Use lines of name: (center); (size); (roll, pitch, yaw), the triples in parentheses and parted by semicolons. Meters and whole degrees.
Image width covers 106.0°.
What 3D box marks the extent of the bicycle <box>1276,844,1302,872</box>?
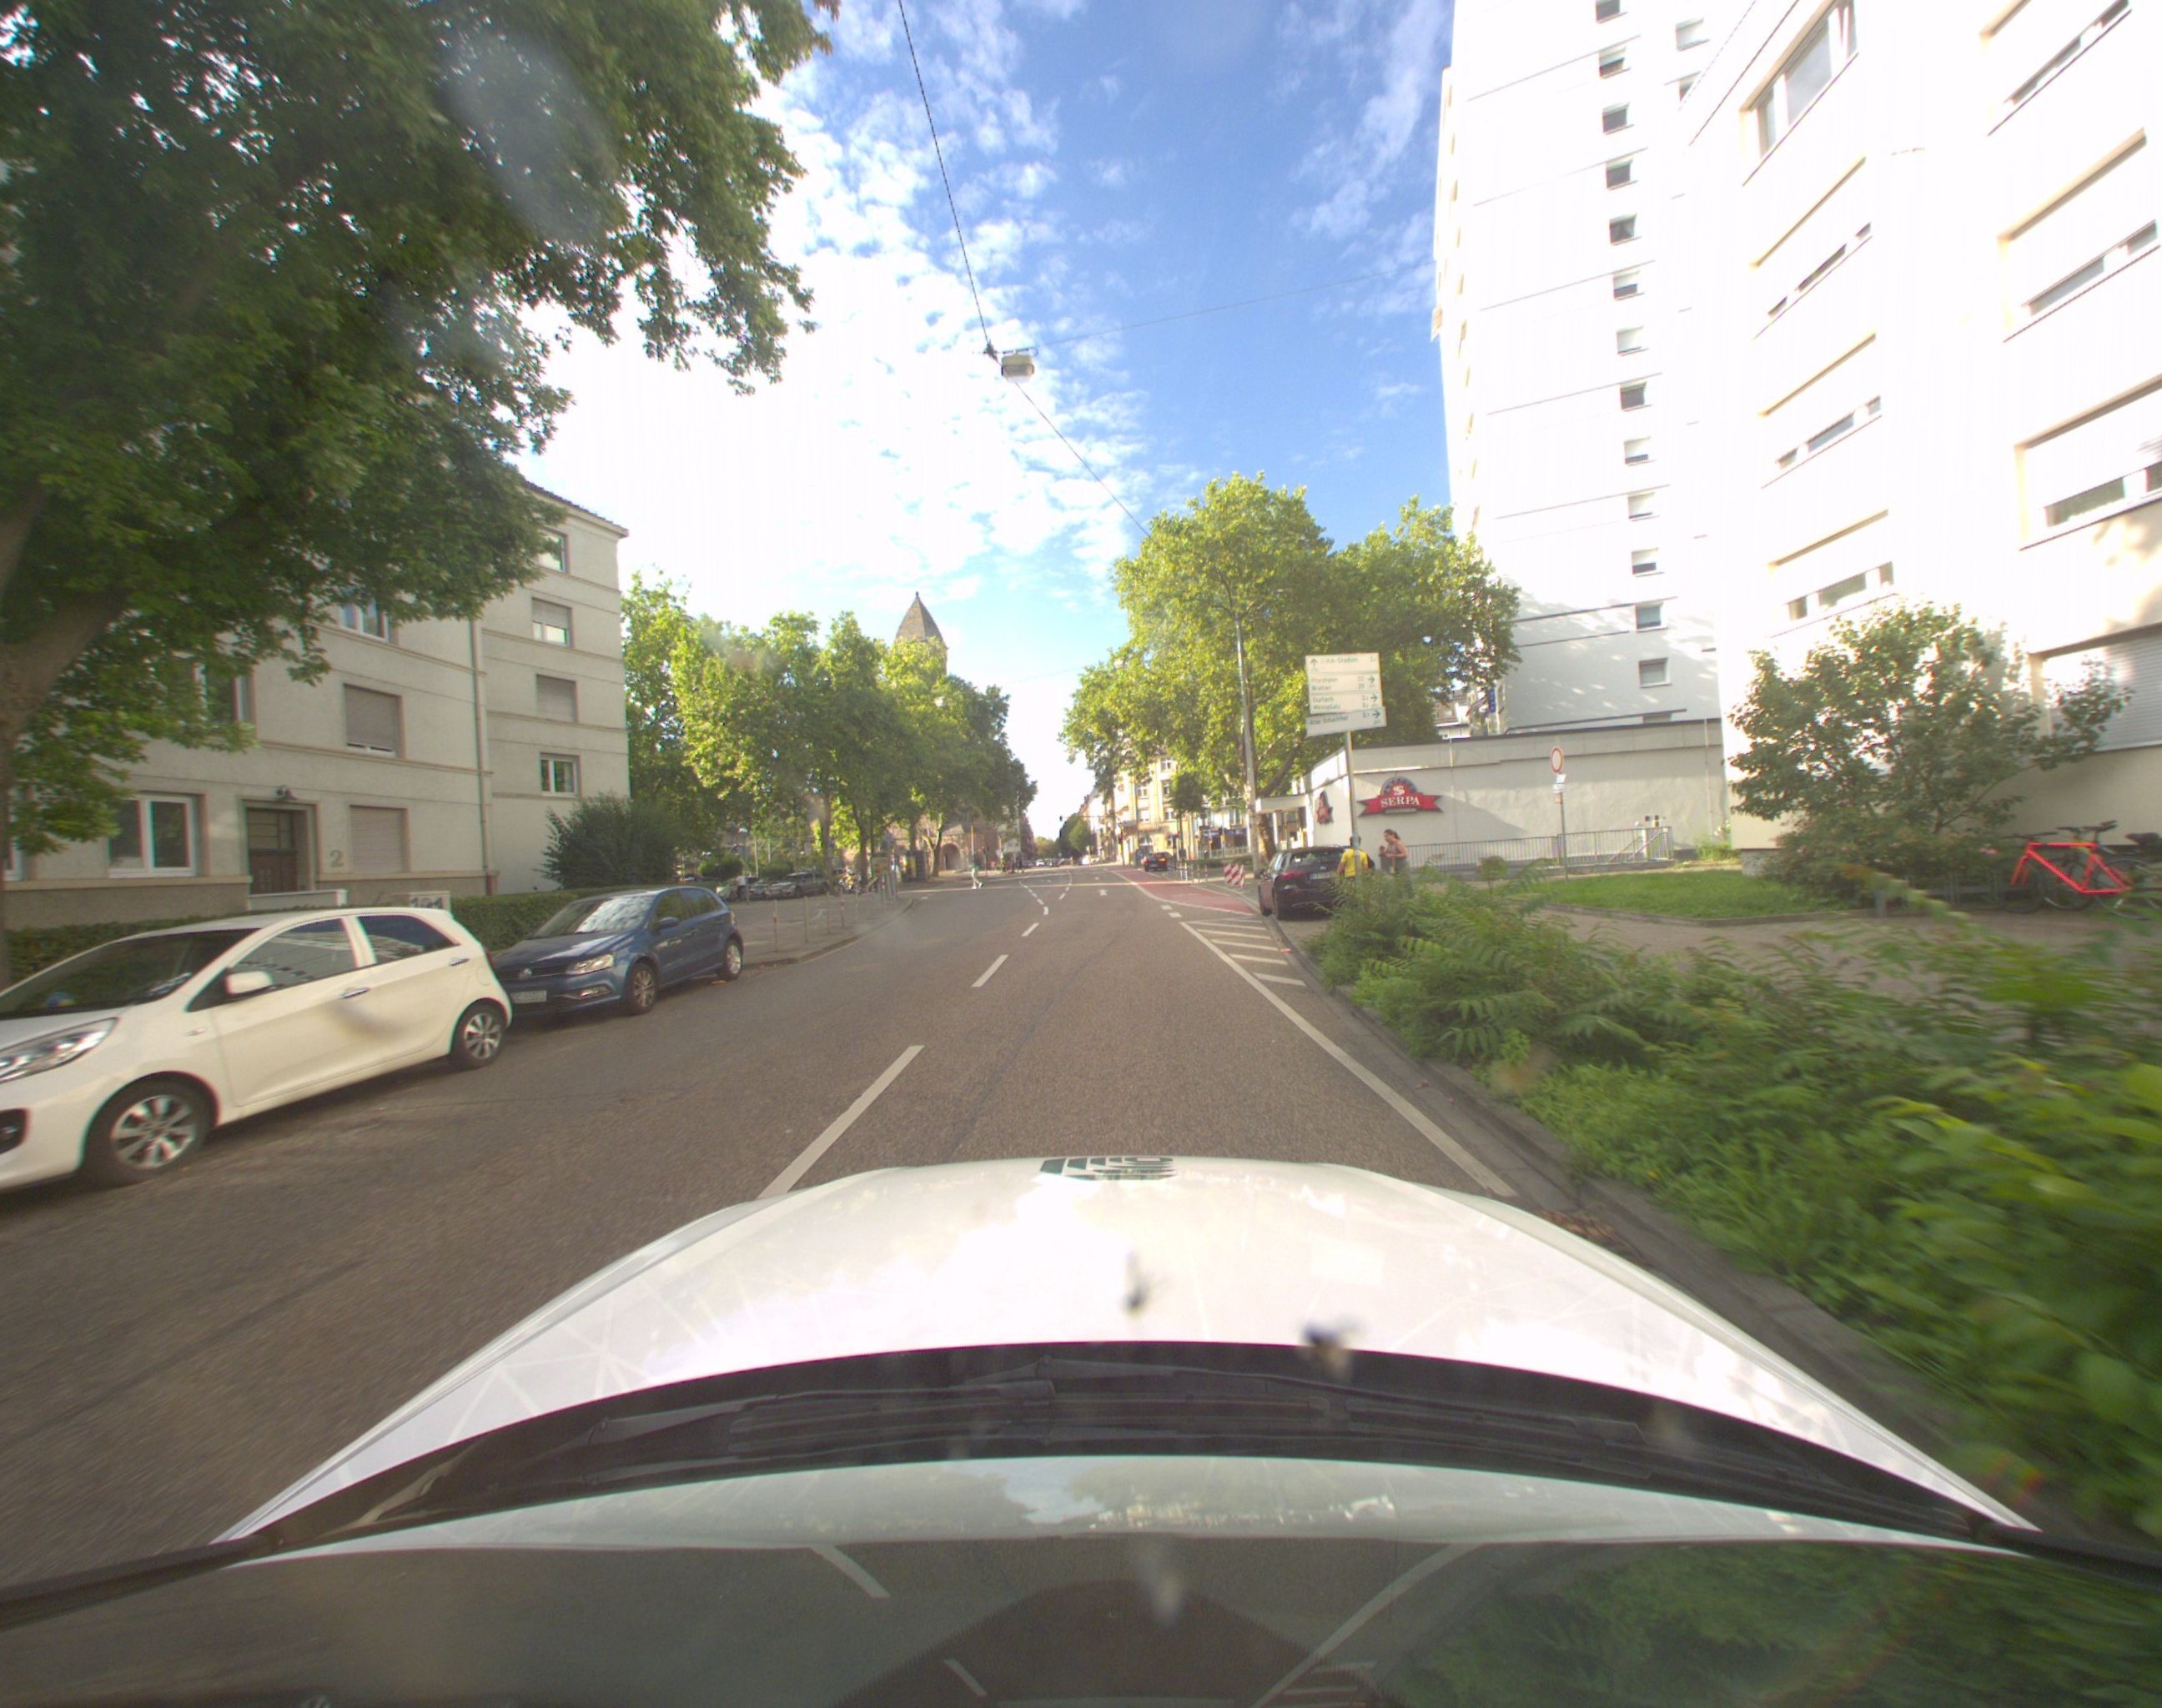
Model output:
bicycle: (9.738, 0.195, 38.169); (0.709, 1.206, 1.817); (-7, -1, 3)

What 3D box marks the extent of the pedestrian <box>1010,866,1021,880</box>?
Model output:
pedestrian: (-7.052, 2.049, 87.597); (0.774, 1.432, 0.735); (-4, 0, 23)

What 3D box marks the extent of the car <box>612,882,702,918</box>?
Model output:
car: (-20.951, 2.256, 40.387); (1.577, 1.477, 3.727); (-4, 0, 23)

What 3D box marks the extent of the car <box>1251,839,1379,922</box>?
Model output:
car: (4.800, 0.488, 17.293); (1.752, 1.411, 4.239); (-5, 0, 5)

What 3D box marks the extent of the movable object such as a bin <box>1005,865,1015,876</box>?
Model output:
movable object such as a bin: (-7.773, 1.840, 88.904); (0.830, 1.123, 0.578); (-4, 0, 21)

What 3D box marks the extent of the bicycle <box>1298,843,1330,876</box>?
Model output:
bicycle: (9.292, 0.213, 32.538); (0.765, 1.206, 1.818); (-5, 0, 5)

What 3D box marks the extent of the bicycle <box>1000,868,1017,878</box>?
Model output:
bicycle: (-8.322, 2.183, 93.900); (1.813, 0.955, 0.576); (-4, 0, 24)

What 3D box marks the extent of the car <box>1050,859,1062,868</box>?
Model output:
car: (-4.313, 1.582, 139.331); (1.944, 1.372, 3.997); (-4, 0, -2)

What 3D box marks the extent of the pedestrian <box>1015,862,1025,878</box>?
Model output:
pedestrian: (-6.696, 1.748, 89.325); (0.774, 1.662, 0.783); (-4, 0, 21)

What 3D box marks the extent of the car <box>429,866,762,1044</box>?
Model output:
car: (-5.793, 1.074, 10.375); (1.793, 1.620, 3.803); (-6, 0, 0)

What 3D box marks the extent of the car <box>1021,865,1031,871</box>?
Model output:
car: (-11.128, 2.829, 164.792); (1.545, 1.230, 3.588); (-3, 0, 1)

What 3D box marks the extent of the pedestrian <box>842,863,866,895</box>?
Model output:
pedestrian: (-12.417, 1.344, 44.504); (1.077, 1.654, 0.809); (-3, 0, -24)

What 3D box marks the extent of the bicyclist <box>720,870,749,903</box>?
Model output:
bicyclist: (-19.010, 1.776, 44.706); (1.100, 1.691, 0.819); (-4, 0, 22)

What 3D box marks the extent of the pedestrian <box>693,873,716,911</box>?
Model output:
pedestrian: (-16.203, 1.615, 35.032); (0.736, 1.578, 0.725); (-4, 0, -30)

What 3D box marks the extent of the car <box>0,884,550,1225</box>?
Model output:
car: (-6.050, 1.125, 5.773); (1.792, 1.493, 3.806); (-6, 0, 3)

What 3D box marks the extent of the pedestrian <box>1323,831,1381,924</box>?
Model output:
pedestrian: (4.723, 0.402, 14.219); (0.650, 1.538, 0.743); (-5, 0, 1)

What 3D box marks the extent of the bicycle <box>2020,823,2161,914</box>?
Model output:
bicycle: (11.719, 0.148, 9.158); (0.476, 0.963, 1.552); (-3, 0, -1)

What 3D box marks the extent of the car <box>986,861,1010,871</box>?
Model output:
car: (-15.779, 2.193, 155.193); (4.022, 1.596, 1.847); (-4, 0, -41)

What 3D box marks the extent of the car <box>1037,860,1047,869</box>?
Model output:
car: (-9.517, 2.671, 200.363); (1.986, 2.013, 4.002); (-4, 0, 2)

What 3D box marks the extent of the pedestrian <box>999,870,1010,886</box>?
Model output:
pedestrian: (-8.397, 2.592, 89.177); (0.807, 1.629, 0.608); (-6, 0, 22)

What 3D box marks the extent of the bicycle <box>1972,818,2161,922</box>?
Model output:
bicycle: (11.168, 0.161, 9.161); (0.520, 1.056, 1.552); (-3, 0, -1)

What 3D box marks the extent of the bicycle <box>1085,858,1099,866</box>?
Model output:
bicycle: (1.762, 1.326, 129.322); (2.024, 1.082, 0.618); (-4, 0, -12)

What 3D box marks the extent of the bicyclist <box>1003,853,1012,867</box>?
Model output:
bicyclist: (-8.487, 0.698, 93.982); (0.771, 1.579, 0.629); (-4, -1, 24)

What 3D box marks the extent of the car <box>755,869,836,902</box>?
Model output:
car: (-17.250, 1.879, 49.504); (2.218, 1.585, 4.992); (-4, 0, 13)

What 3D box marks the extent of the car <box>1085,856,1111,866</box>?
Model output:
car: (2.762, 1.166, 131.727); (3.981, 1.420, 1.996); (-4, 0, -6)

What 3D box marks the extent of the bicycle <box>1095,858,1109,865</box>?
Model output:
bicycle: (3.357, 1.198, 129.383); (2.024, 1.082, 0.618); (-4, 0, -12)

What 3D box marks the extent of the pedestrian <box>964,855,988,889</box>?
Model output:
pedestrian: (-5.547, 0.939, 42.976); (1.076, 1.753, 0.914); (-3, 0, -15)

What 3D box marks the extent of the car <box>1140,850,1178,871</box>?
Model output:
car: (5.919, 0.481, 61.338); (1.737, 1.413, 4.021); (-3, 0, 21)

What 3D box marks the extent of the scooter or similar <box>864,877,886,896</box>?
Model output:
scooter or similar: (-11.354, 1.791, 44.853); (1.015, 0.923, 0.802); (-4, 0, -21)

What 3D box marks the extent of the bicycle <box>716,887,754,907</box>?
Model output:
bicycle: (-18.974, 2.362, 44.669); (1.903, 0.994, 0.767); (-3, 0, 22)

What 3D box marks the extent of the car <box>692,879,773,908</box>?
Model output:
car: (-21.728, 2.437, 51.023); (1.653, 1.377, 4.863); (-4, 0, 20)

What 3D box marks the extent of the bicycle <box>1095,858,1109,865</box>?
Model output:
bicycle: (3.386, 1.219, 130.045); (2.024, 1.082, 0.628); (-4, 0, -12)

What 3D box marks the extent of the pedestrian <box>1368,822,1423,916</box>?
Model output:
pedestrian: (5.758, 0.264, 14.964); (0.650, 1.645, 0.743); (-3, 0, 1)
